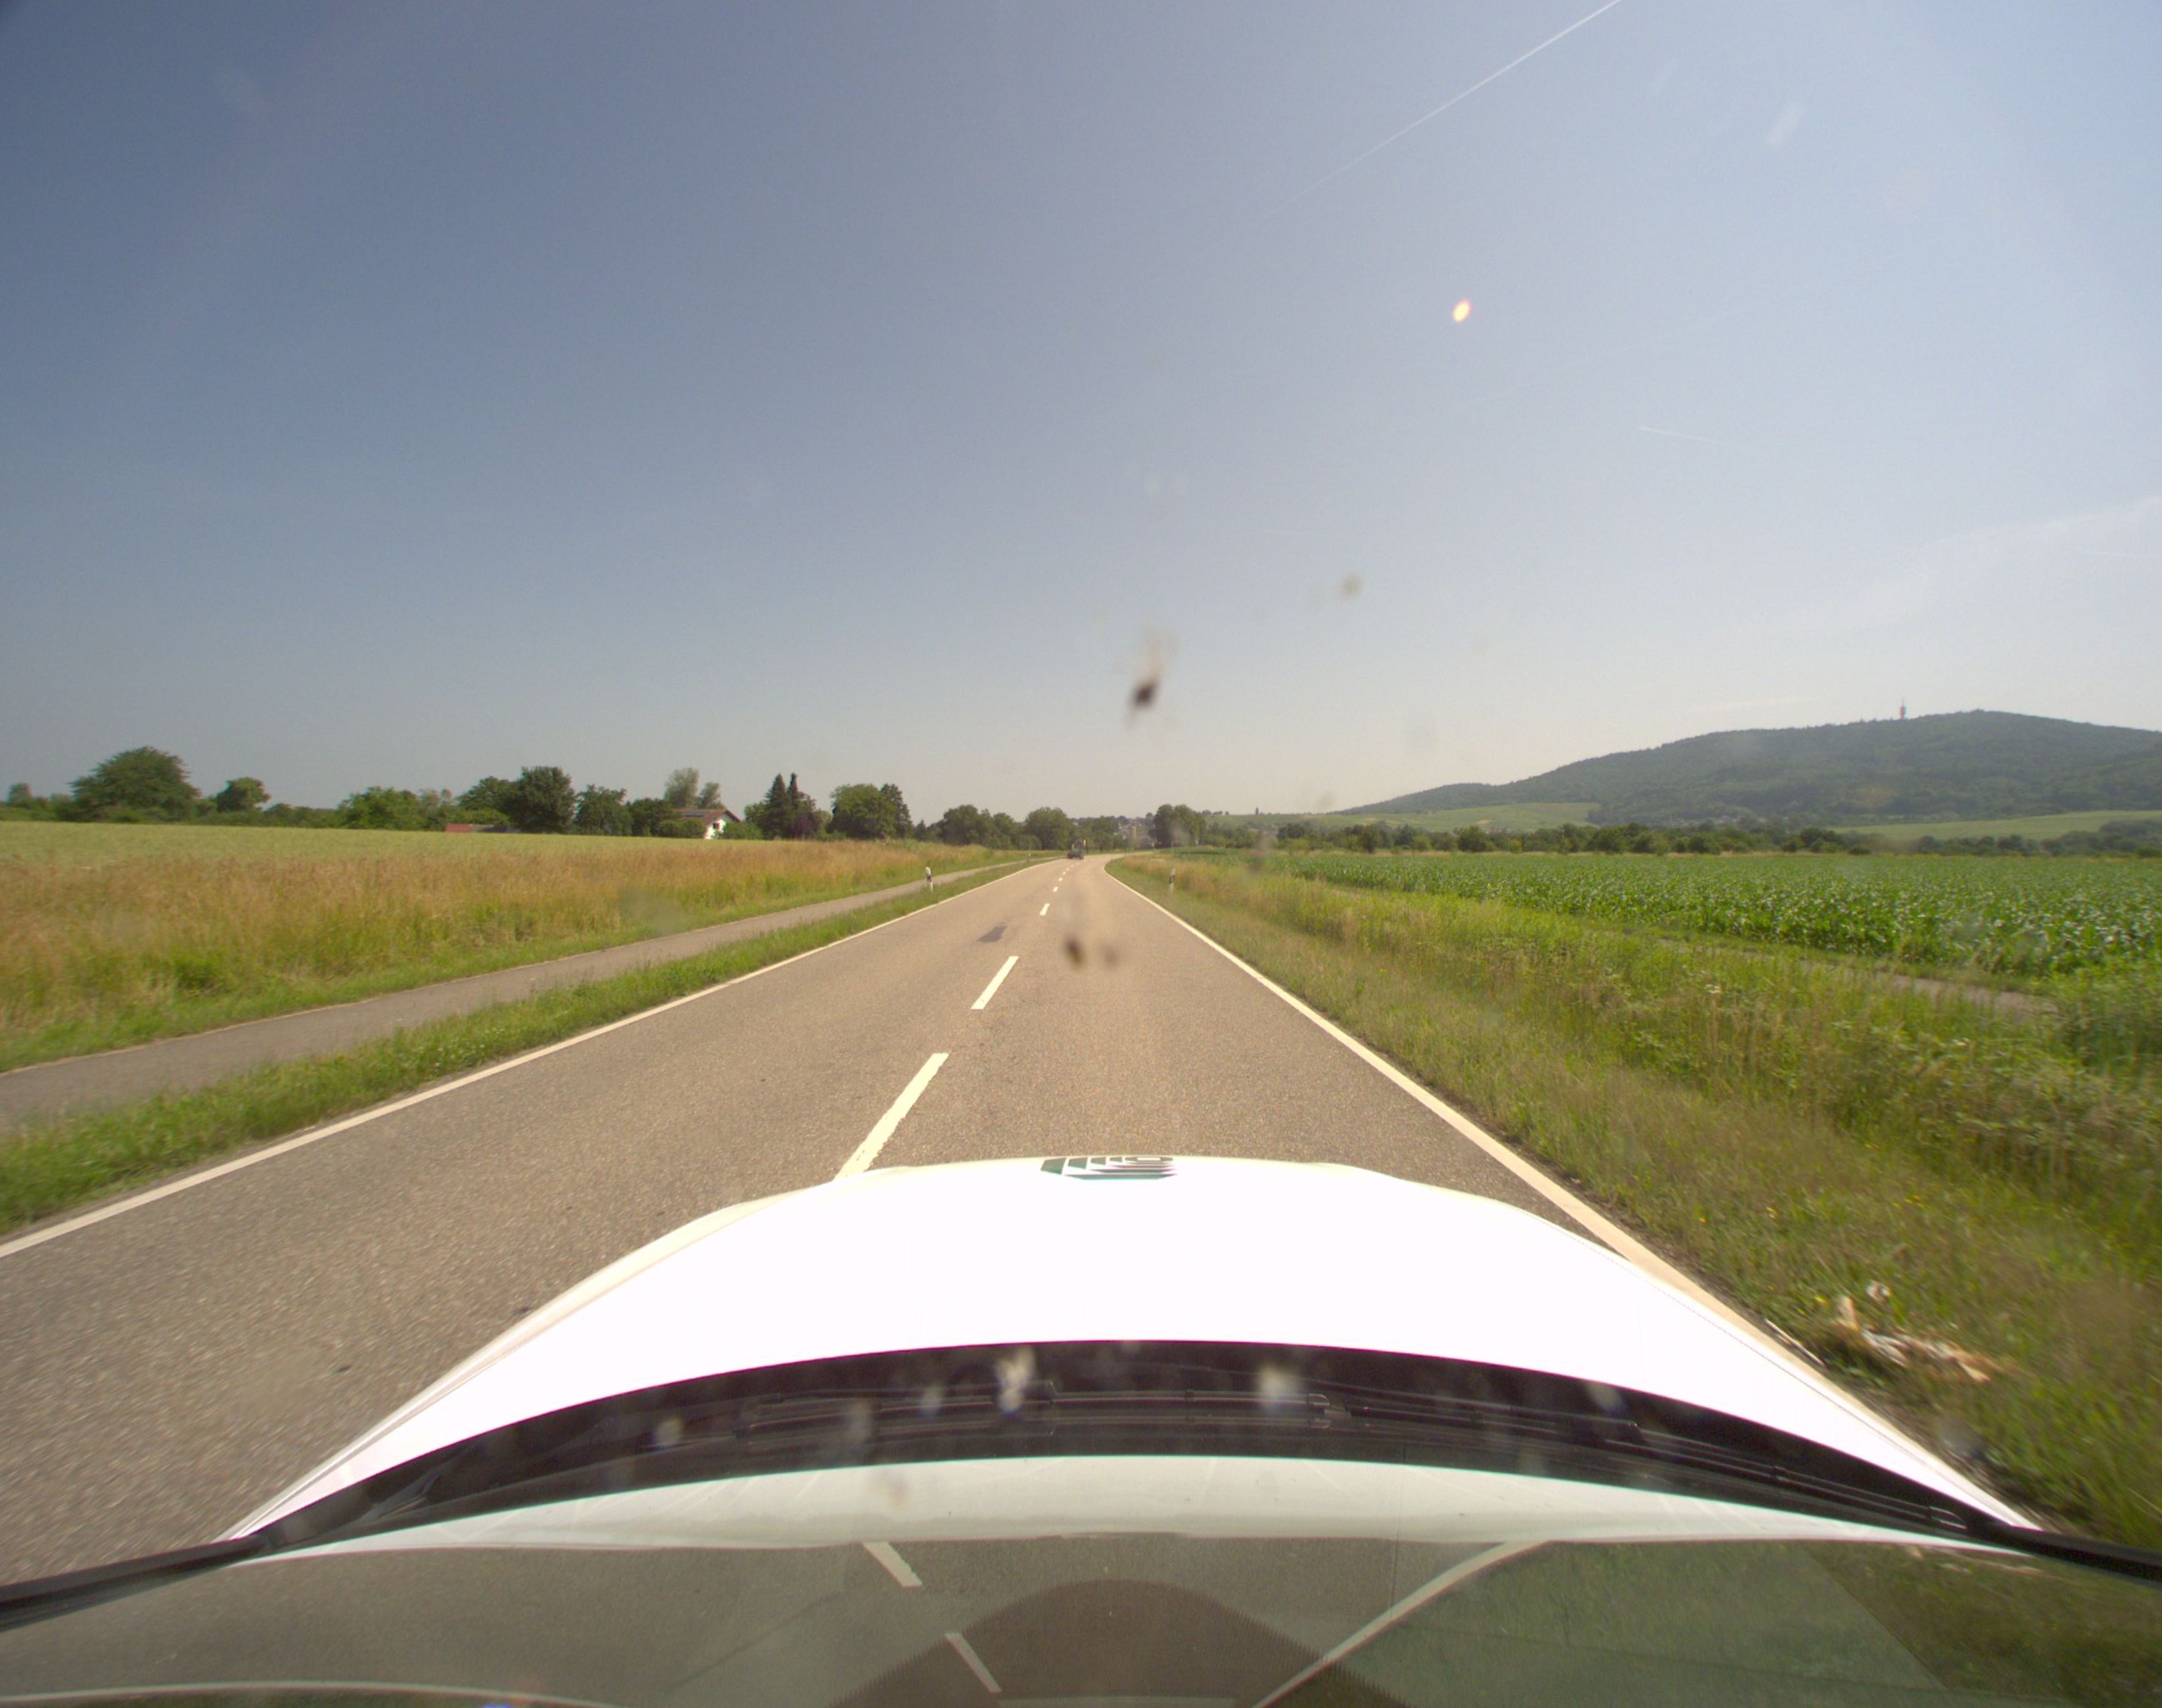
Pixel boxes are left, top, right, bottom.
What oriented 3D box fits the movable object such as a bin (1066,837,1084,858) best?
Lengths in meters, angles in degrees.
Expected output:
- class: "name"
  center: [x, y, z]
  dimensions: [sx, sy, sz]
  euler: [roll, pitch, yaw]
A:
- class: "movable object such as a bin"
  center: [-0.823, -0.876, 113.947]
  dimensions: [1.992, 2.754, 5.235]
  euler: [3, 1, 3]
